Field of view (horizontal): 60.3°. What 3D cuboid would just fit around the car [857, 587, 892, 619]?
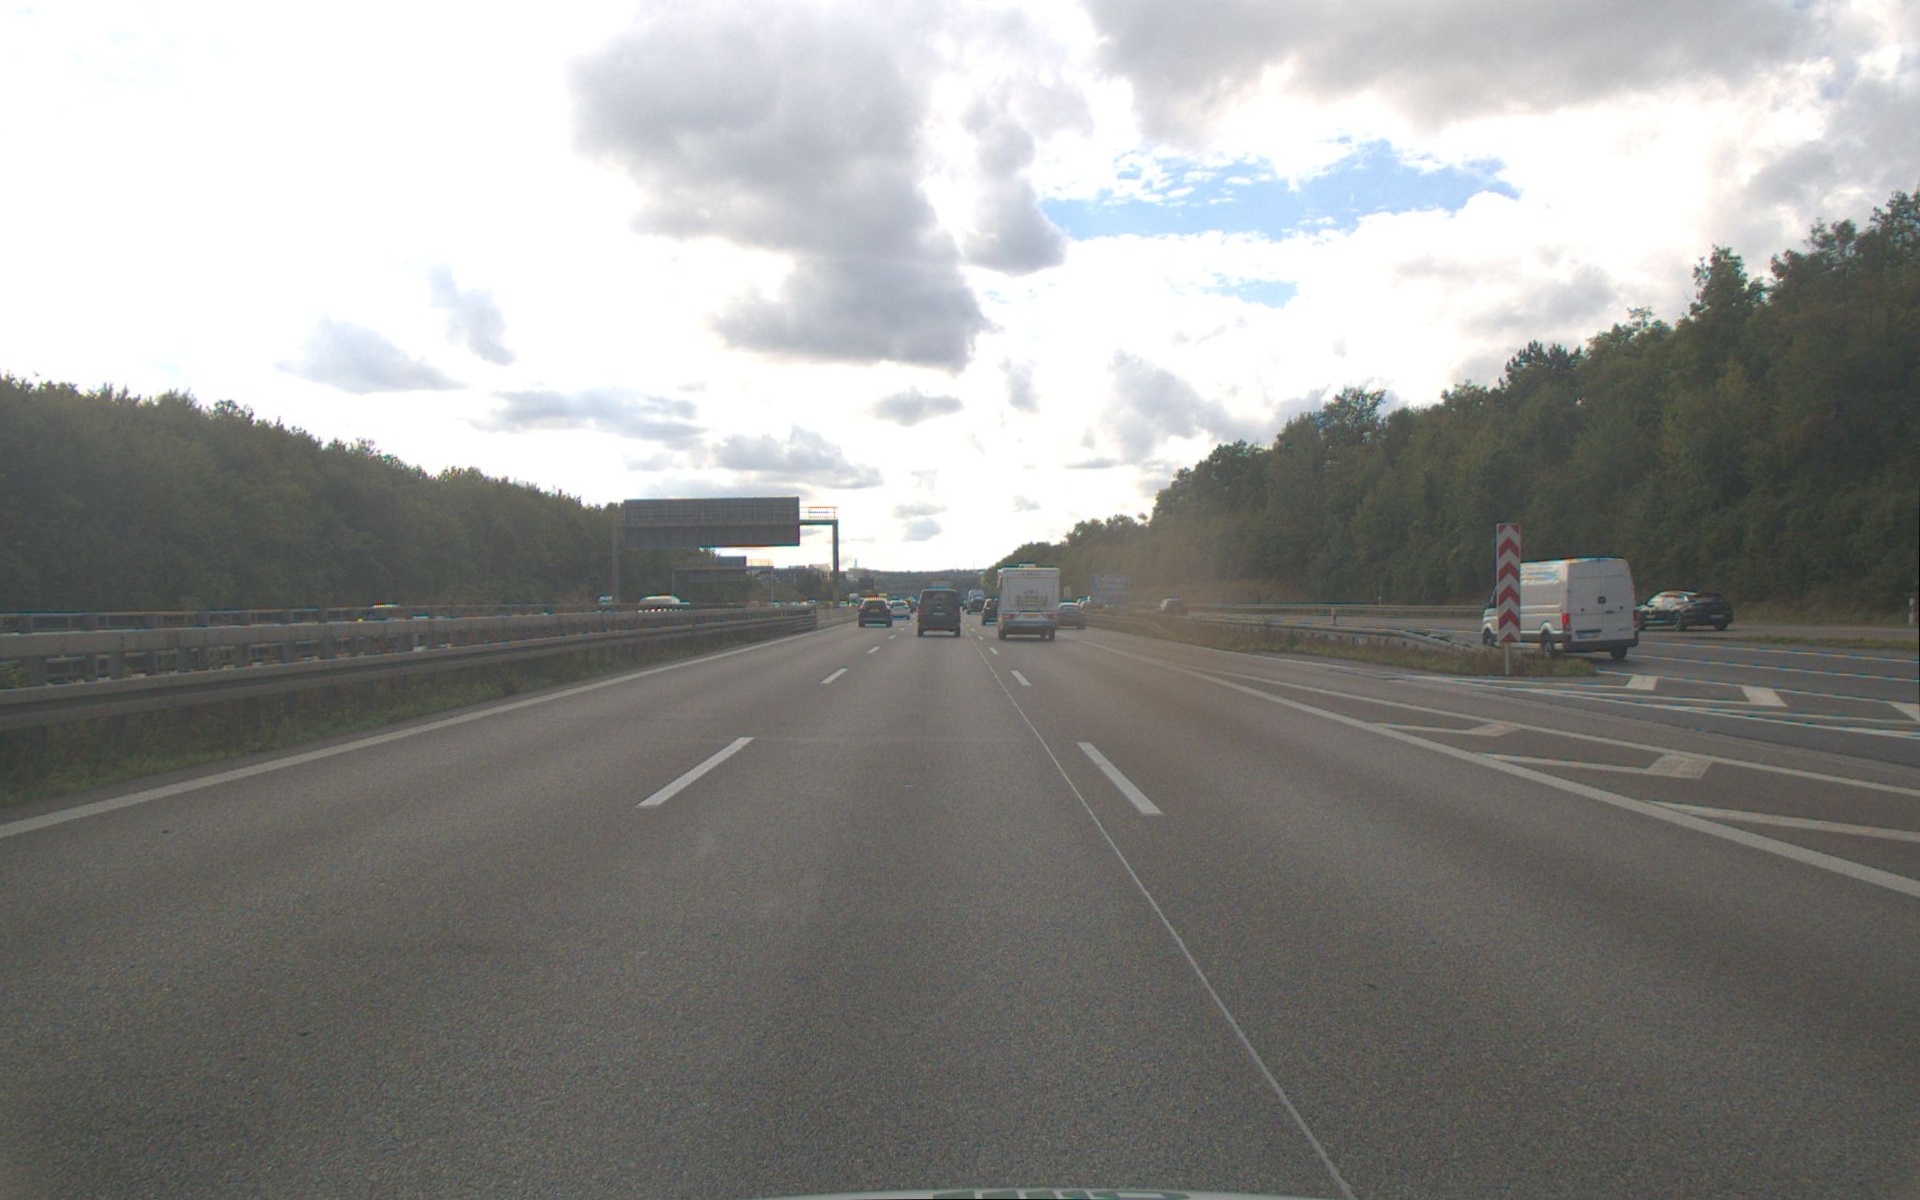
[{"bbox_3d":[-4.816,0.181,93.097,1.835,1.728,4.071,0,0,-1],"label":"car"}]

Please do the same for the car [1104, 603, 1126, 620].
[{"bbox_3d":[14.347,1.053,153.147,1.509,1.510,3.941,-2,0,-1],"label":"car"}]

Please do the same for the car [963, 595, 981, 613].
[{"bbox_3d":[1.358,0.465,183.944,1.874,1.952,4.029,0,0,-1],"label":"car"}]

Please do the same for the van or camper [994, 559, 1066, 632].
[{"bbox_3d":[2.766,-0.173,66.978,2.418,2.769,7.659,1,0,-1],"label":"van or camper"}]

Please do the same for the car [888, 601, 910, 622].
[{"bbox_3d":[-4.639,0.867,126.921,1.663,1.639,4.112,0,0,-2],"label":"car"}]

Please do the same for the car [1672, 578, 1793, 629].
[{"bbox_3d":[26.578,0.109,57.077,1.806,1.630,4.762,-2,0,-2],"label":"car"}]

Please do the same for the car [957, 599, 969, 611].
[{"bbox_3d":[0.430,0.683,241.324,1.716,1.725,4.189,0,0,-1],"label":"car"}]

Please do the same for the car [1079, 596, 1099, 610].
[{"bbox_3d":[14.735,0.357,189.011,1.806,1.510,4.524,-2,0,-2],"label":"car"}]

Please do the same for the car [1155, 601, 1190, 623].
[{"bbox_3d":[15.321,0.840,119.341,1.806,1.510,4.525,-2,0,-1],"label":"car"}]

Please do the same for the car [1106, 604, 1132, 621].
[{"bbox_3d":[14.768,1.148,153.544,1.806,1.510,4.524,-2,0,-2],"label":"car"}]

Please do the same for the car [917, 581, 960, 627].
[{"bbox_3d":[-0.934,0.163,71.048,1.817,1.944,4.259,0,0,-1],"label":"car"}]

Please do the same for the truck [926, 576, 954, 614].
[{"bbox_3d":[-2.441,-0.566,200.591,3.196,4.451,11.024,1,0,-1],"label":"truck"}]

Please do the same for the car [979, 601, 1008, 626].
[{"bbox_3d":[2.137,0.860,105.466,1.663,1.592,4.112,0,0,-2],"label":"car"}]

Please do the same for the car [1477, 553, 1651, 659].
[{"bbox_3d":[16.048,0.129,44.402,2.028,2.599,6.740,-1,0,-2],"label":"car"}]

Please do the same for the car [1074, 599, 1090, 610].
[{"bbox_3d":[17.790,0.673,240.756,1.806,1.510,4.524,-2,0,-2],"label":"car"}]

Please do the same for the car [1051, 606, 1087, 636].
[{"bbox_3d":[6.083,1.159,92.566,1.663,1.639,3.894,0,0,-2],"label":"car"}]
